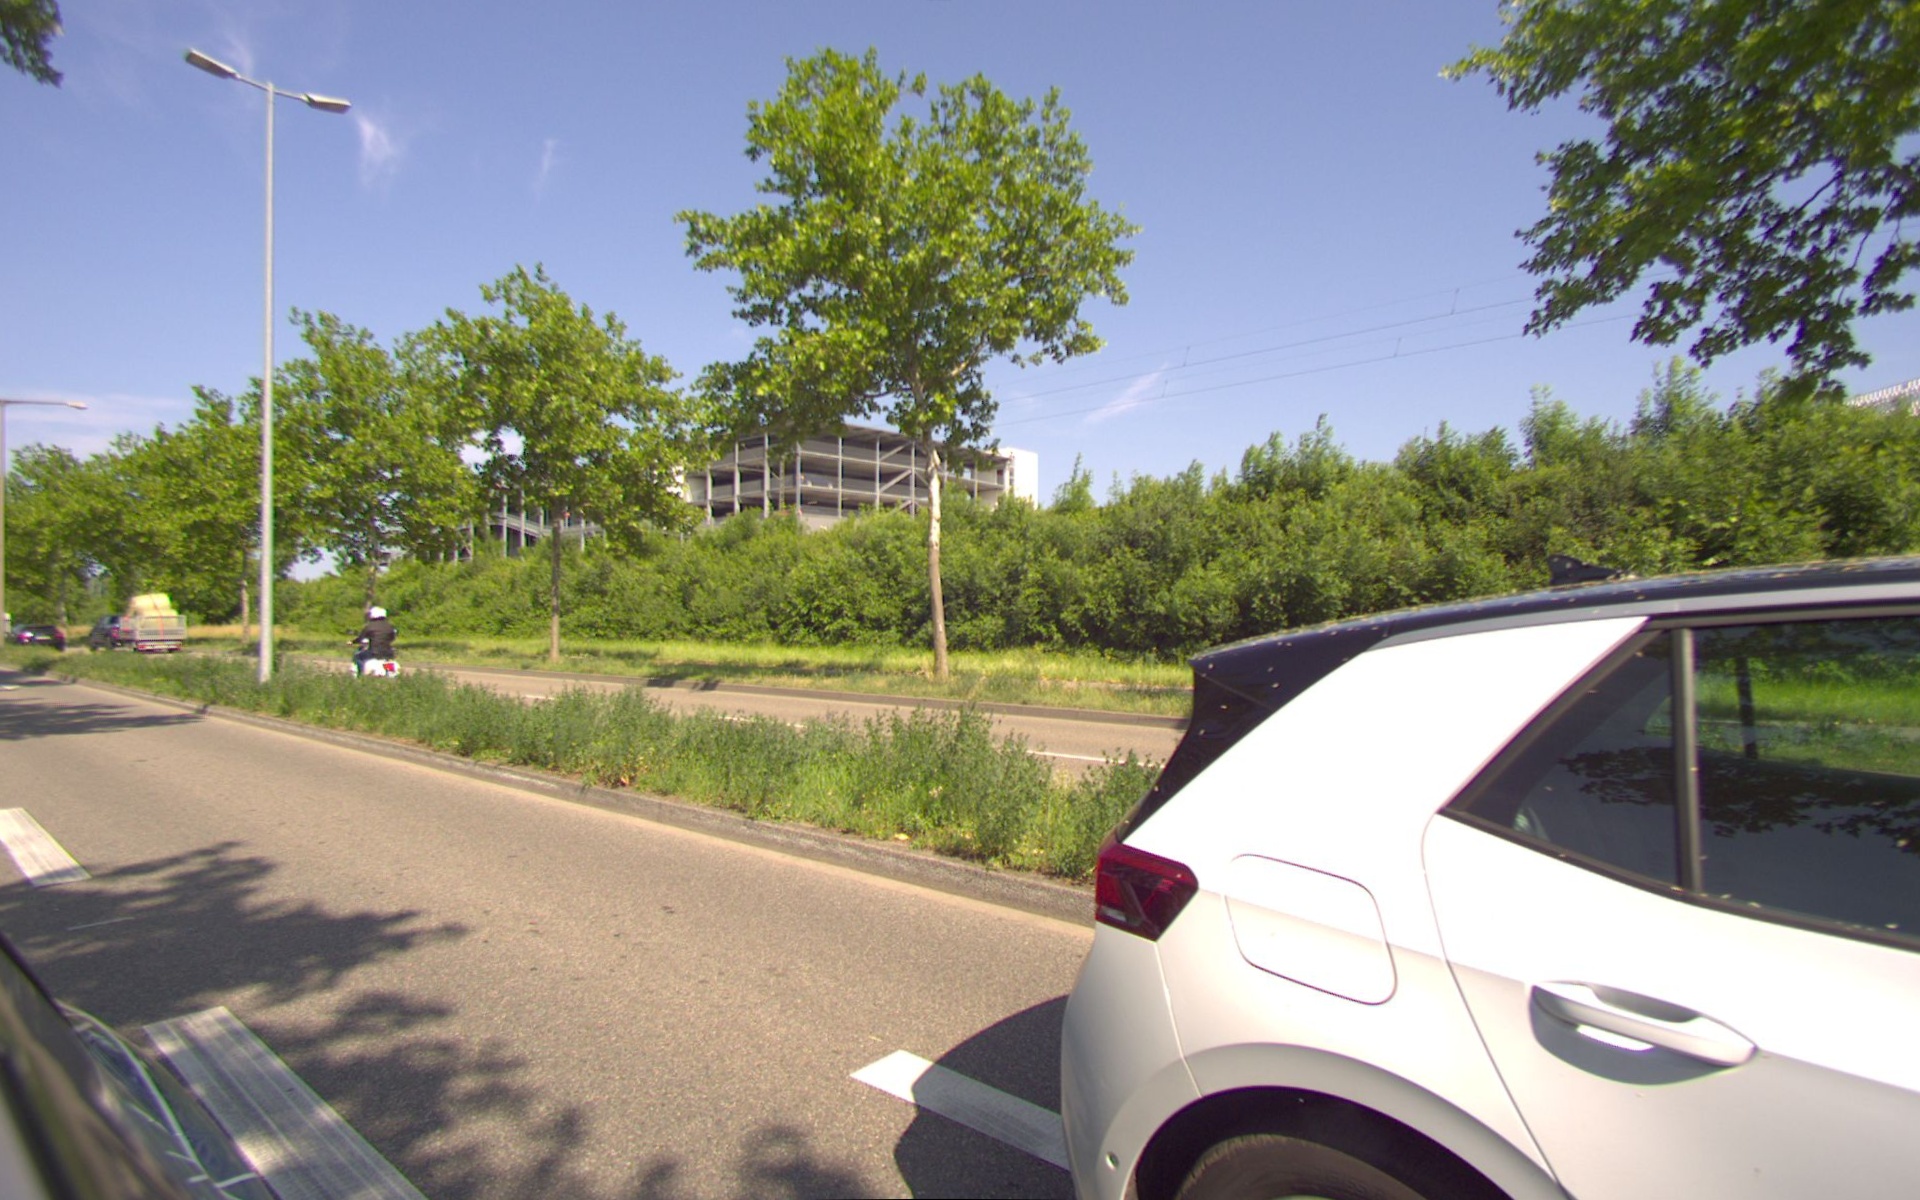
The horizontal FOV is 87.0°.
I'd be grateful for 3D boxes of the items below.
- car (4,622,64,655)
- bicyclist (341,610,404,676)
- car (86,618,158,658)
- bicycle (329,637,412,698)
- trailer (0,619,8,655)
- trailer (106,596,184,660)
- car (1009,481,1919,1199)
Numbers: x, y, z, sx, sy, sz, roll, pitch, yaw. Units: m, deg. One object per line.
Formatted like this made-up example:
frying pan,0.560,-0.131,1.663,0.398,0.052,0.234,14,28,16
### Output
car,-43.702,1.770,47.745,3.786,1.483,1.587,-1,-1,39
bicyclist,-11.092,0.793,19.098,1.101,1.199,0.720,-1,0,42
car,-40.800,1.810,49.228,5.371,1.803,1.746,-1,0,40
bicycle,-11.222,1.247,19.231,2.216,1.037,0.720,0,0,42
trailer,-63.936,2.402,66.003,5.537,2.282,2.284,-1,-1,42
trailer,-37.406,1.240,46.408,4.825,2.764,1.861,-1,0,40
car,2.252,0.634,1.084,4.207,1.533,1.800,-1,-1,42
